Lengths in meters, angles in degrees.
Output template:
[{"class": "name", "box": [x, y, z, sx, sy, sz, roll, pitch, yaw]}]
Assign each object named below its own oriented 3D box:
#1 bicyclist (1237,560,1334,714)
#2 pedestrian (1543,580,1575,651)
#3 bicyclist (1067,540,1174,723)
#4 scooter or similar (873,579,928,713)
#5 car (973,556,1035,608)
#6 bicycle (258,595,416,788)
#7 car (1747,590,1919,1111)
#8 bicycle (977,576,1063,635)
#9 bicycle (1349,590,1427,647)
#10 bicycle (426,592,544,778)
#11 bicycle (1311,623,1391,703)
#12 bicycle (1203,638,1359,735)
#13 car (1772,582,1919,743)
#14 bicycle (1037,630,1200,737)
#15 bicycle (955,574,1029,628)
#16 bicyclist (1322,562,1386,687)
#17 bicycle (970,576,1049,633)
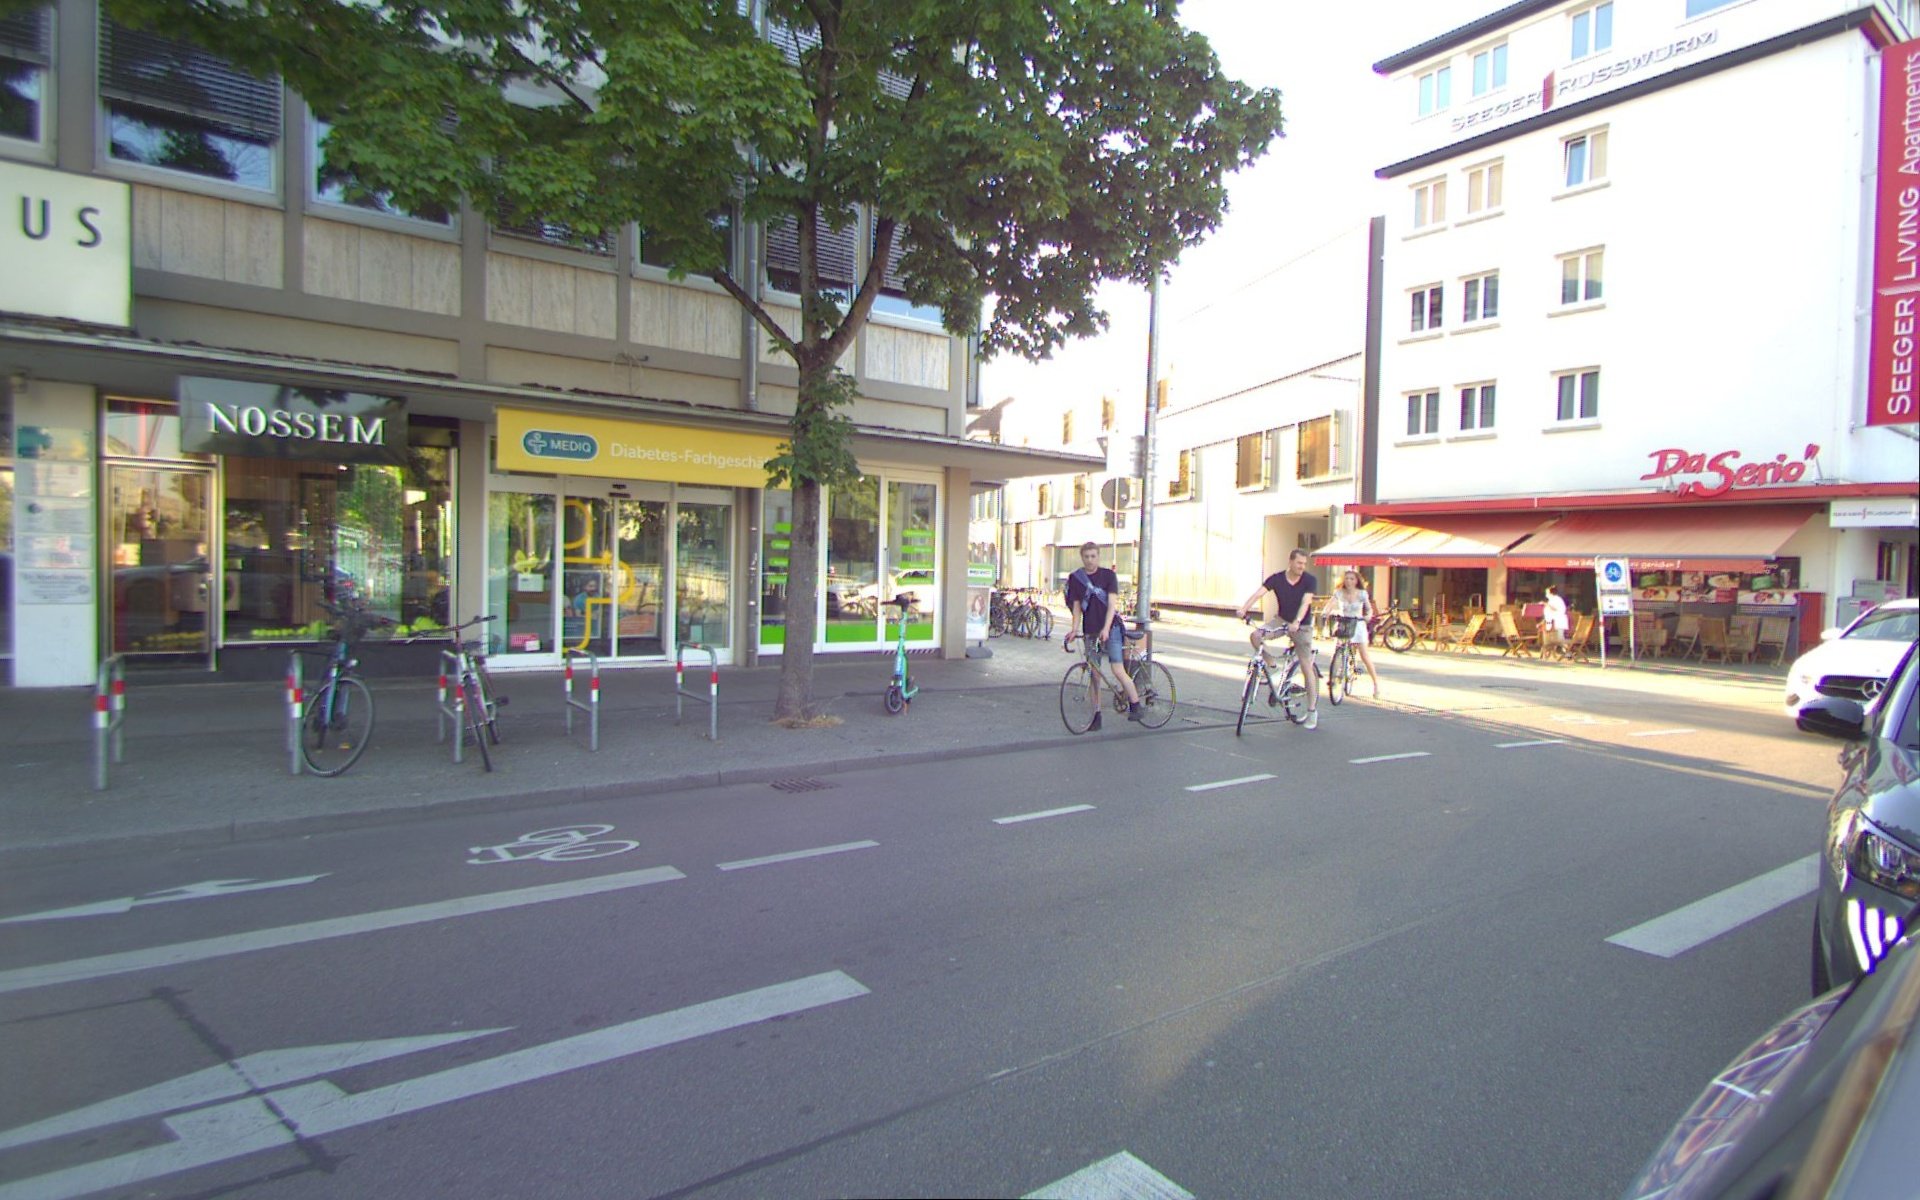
[{"class": "bicyclist", "box": [3.337, 0.350, 10.386, 0.705, 1.505, 0.614, 0, 2, -38]}, {"class": "pedestrian", "box": [12.817, 0.322, 21.656, 0.504, 1.467, 0.502, 2, 2, 27]}, {"class": "bicyclist", "box": [1.607, 0.287, 10.156, 0.796, 1.748, 0.665, 0, 2, -39]}, {"class": "scooter or similar", "box": [-0.661, 0.457, 10.975, 0.504, 1.338, 1.283, 1, 2, -6]}, {"class": "car", "box": [1.793, -0.795, 42.885, 1.959, 2.038, 4.006, 1, 2, -6]}, {"class": "bicycle", "box": [-4.584, 0.587, 7.392, 0.655, 1.154, 1.743, 0, 3, -43]}, {"class": "car", "box": [4.878, 0.754, 4.197, 4.625, 1.522, 1.913, -1, 3, -44]}, {"class": "bicycle", "box": [1.316, 0.126, 22.312, 1.743, 1.201, 0.556, 3, 1, -19]}, {"class": "bicycle", "box": [9.961, 0.409, 23.587, 0.588, 1.181, 1.636, -2, 4, -31]}, {"class": "bicycle", "box": [-3.681, 0.580, 7.773, 0.528, 1.199, 1.638, 0, 3, -35]}, {"class": "bicycle", "box": [4.932, 0.757, 12.709, 0.595, 0.835, 1.720, 2, 3, 32]}, {"class": "bicycle", "box": [3.317, 0.852, 10.393, 1.772, 0.835, 0.615, 0, 2, -38]}, {"class": "car", "box": [10.732, 0.590, 10.747, 4.472, 1.467, 1.819, 0, 2, -31]}, {"class": "bicycle", "box": [1.613, 0.803, 10.182, 1.660, 0.912, 0.675, 0, 2, -39]}, {"class": "bicycle", "box": [0.781, 0.017, 24.537, 1.651, 1.201, 0.487, 3, 1, -19]}, {"class": "bicyclist", "box": [4.949, 0.288, 12.704, 0.584, 1.505, 0.710, 2, 2, 32]}, {"class": "bicycle", "box": [1.149, 0.110, 23.380, 1.682, 1.201, 0.541, 3, 1, -19]}]
